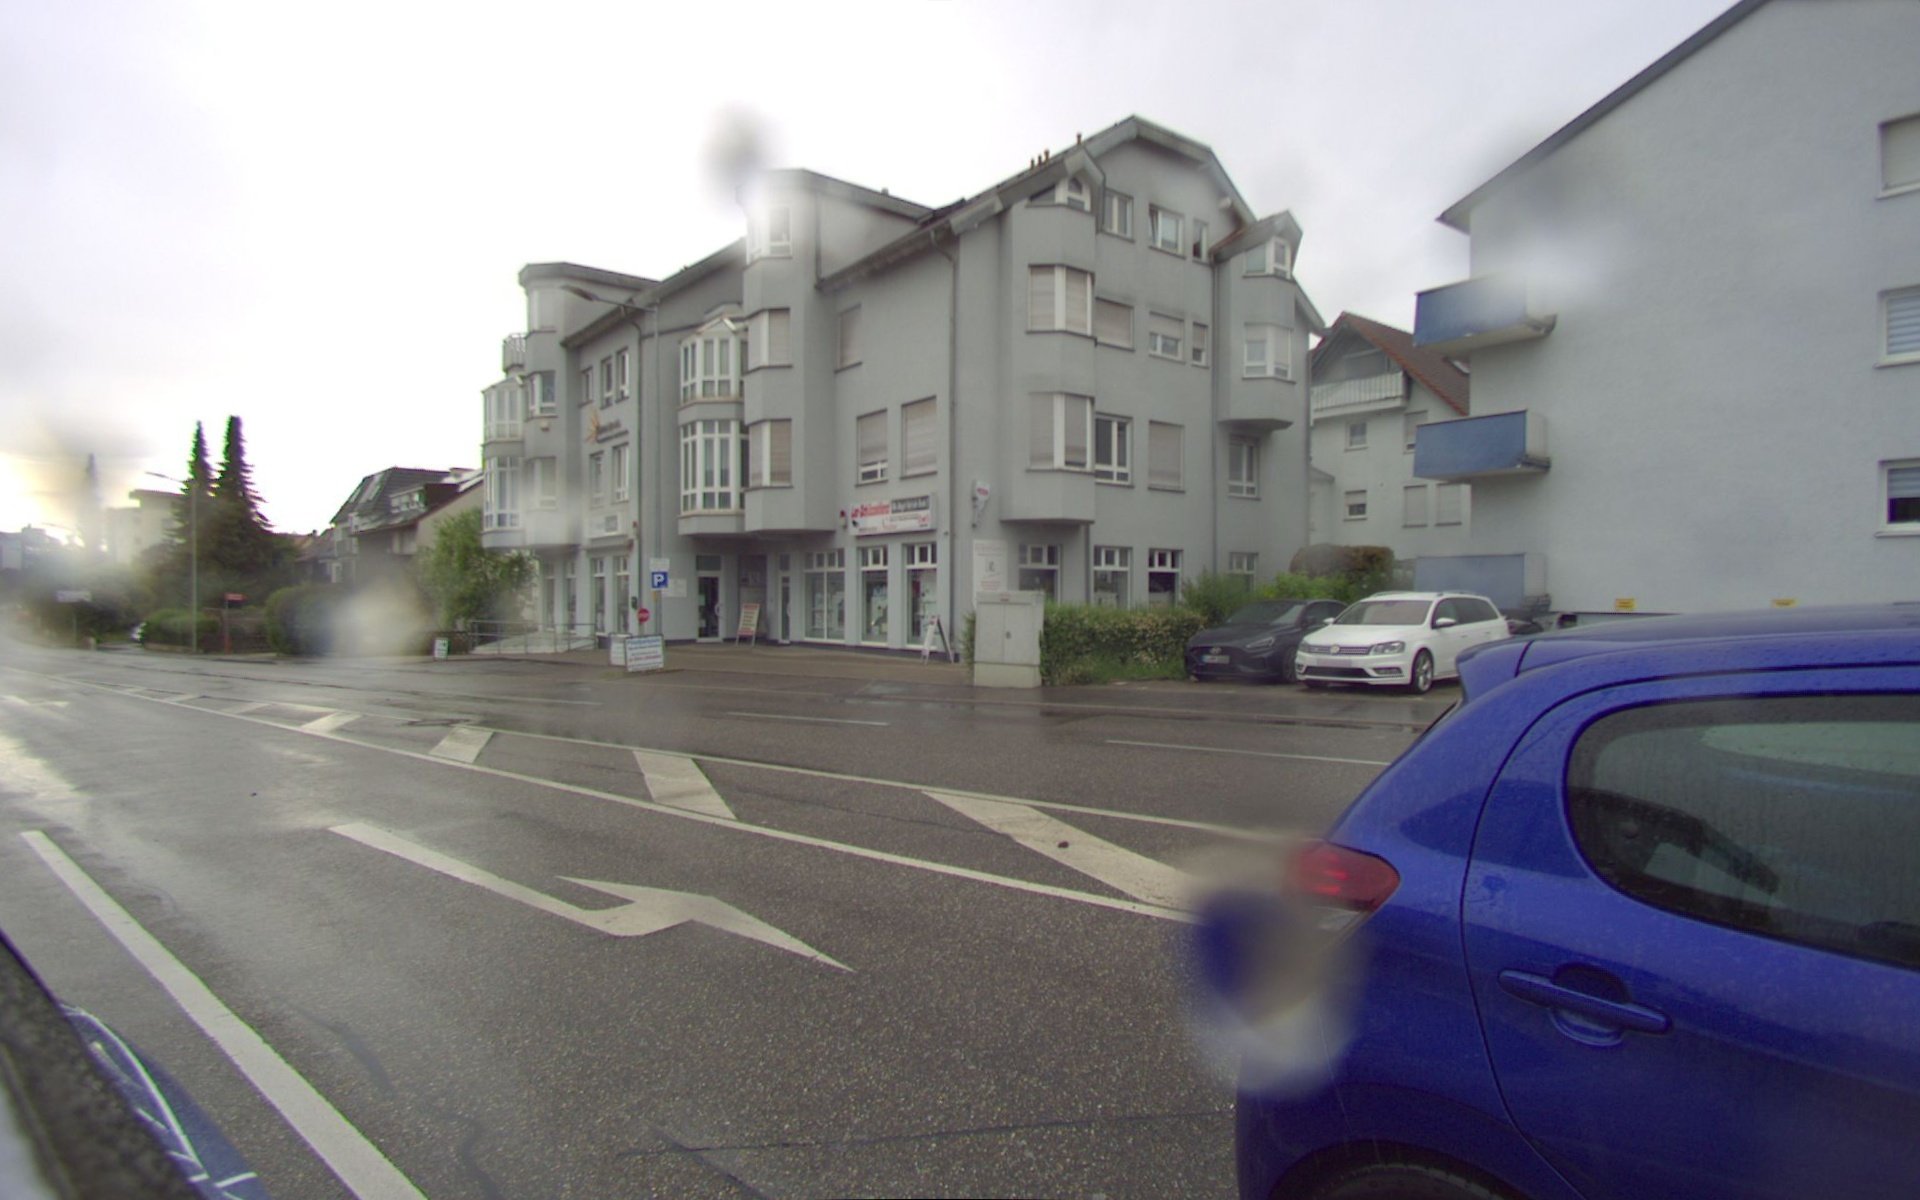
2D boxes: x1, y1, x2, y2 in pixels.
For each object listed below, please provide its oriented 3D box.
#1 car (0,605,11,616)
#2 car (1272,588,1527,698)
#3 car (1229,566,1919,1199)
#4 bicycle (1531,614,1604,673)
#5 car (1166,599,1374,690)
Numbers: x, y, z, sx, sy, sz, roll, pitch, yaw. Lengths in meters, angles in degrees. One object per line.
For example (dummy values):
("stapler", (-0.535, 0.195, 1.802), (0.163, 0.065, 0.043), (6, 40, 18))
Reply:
("car", (-165.213, 1.811, 174.536), (4.001, 1.798, 1.972), (-1, 0, 43))
("car", (6.977, 0.606, 15.816), (4.685, 1.471, 1.883), (0, -2, -42))
("car", (2.229, 0.643, 1.208), (3.362, 1.423, 1.489), (-2, -1, 41))
("bicycle", (11.139, 0.793, 18.571), (1.065, 1.061, 0.343), (-2, -1, 41))
("car", (5.488, 0.691, 17.661), (1.851, 1.366, 3.941), (-1, 0, 45))
